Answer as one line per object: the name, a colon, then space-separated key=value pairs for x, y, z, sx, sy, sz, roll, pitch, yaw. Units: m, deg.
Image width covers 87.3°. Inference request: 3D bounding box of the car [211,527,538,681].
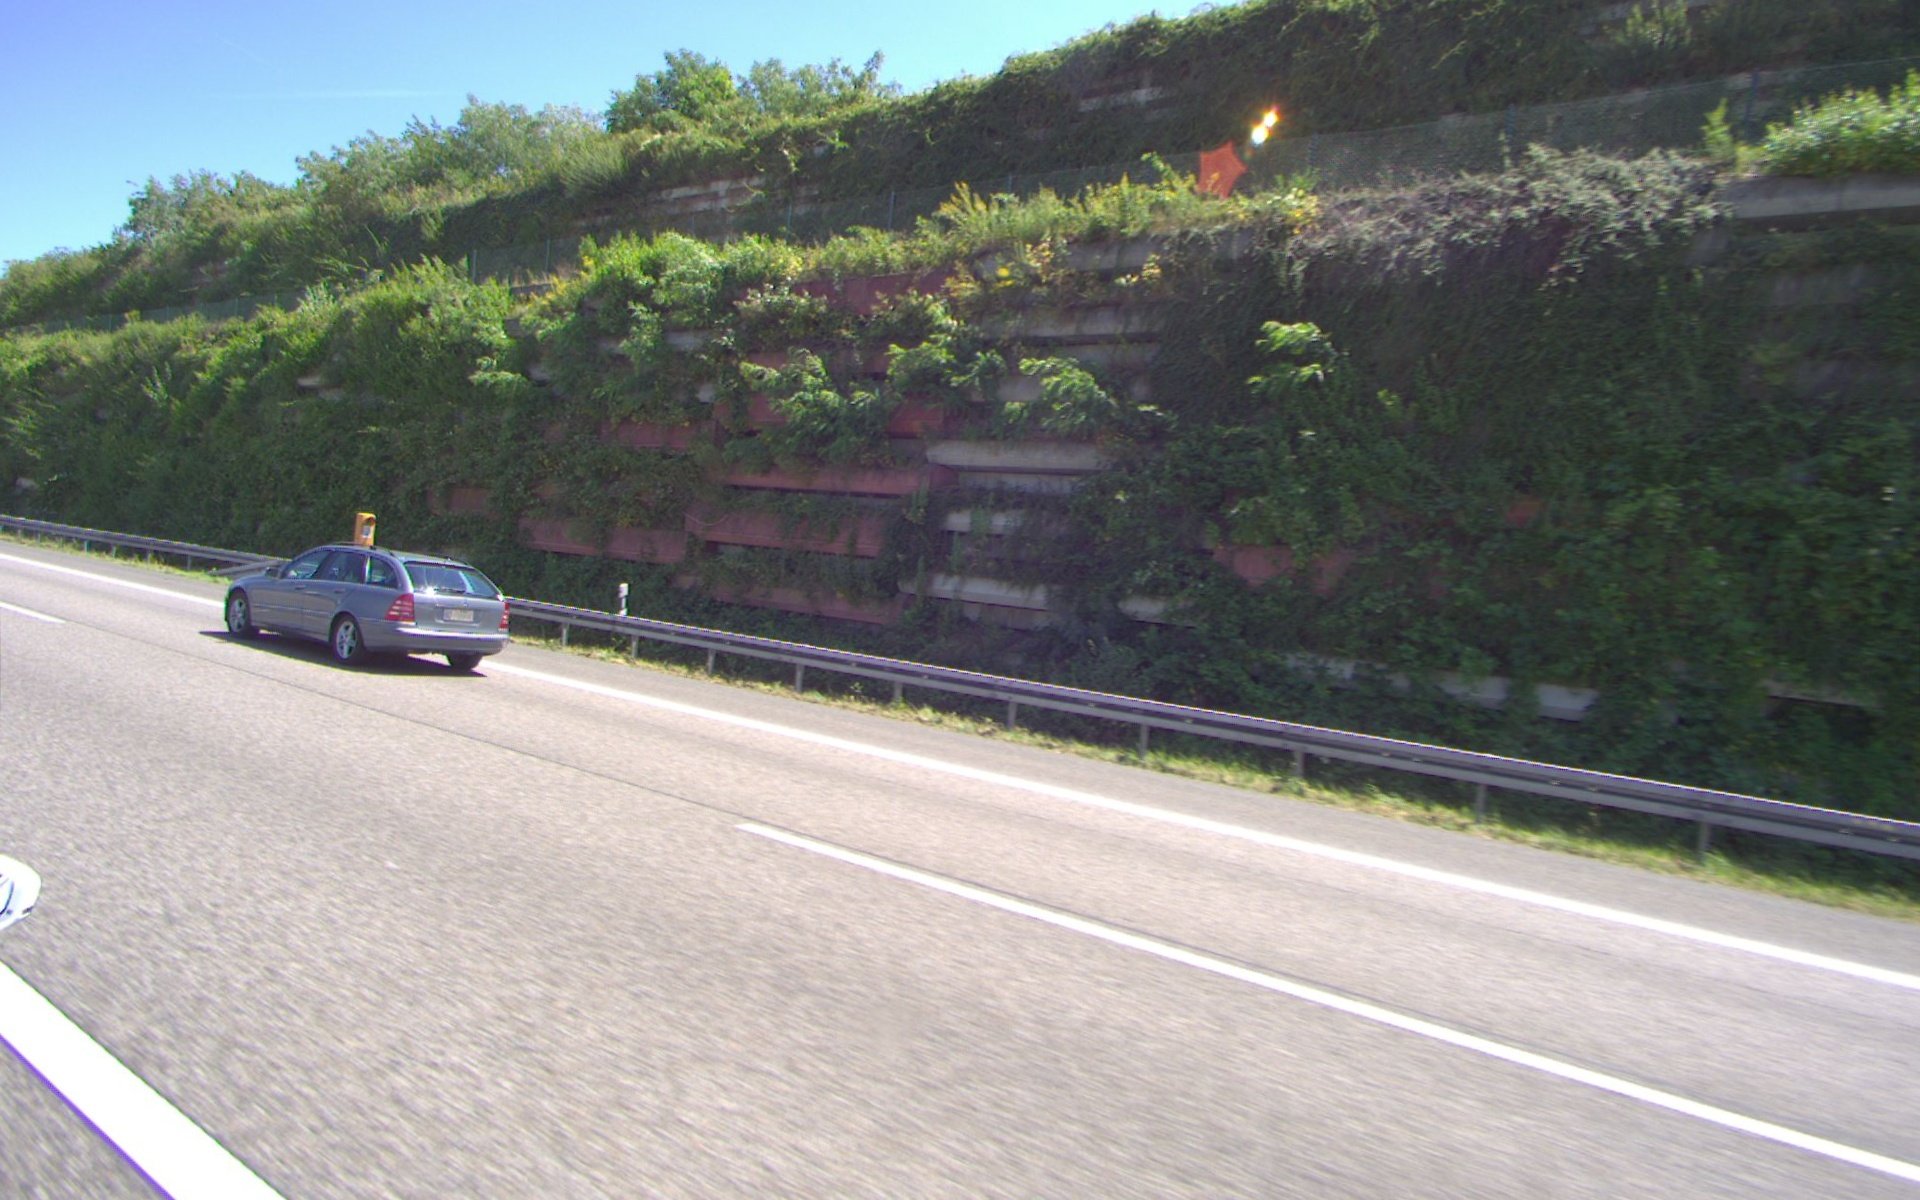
car: x=-7.754 y=0.022 z=13.206 sx=4.378 sy=1.445 sz=1.687 roll=7 pitch=-1 yaw=31
